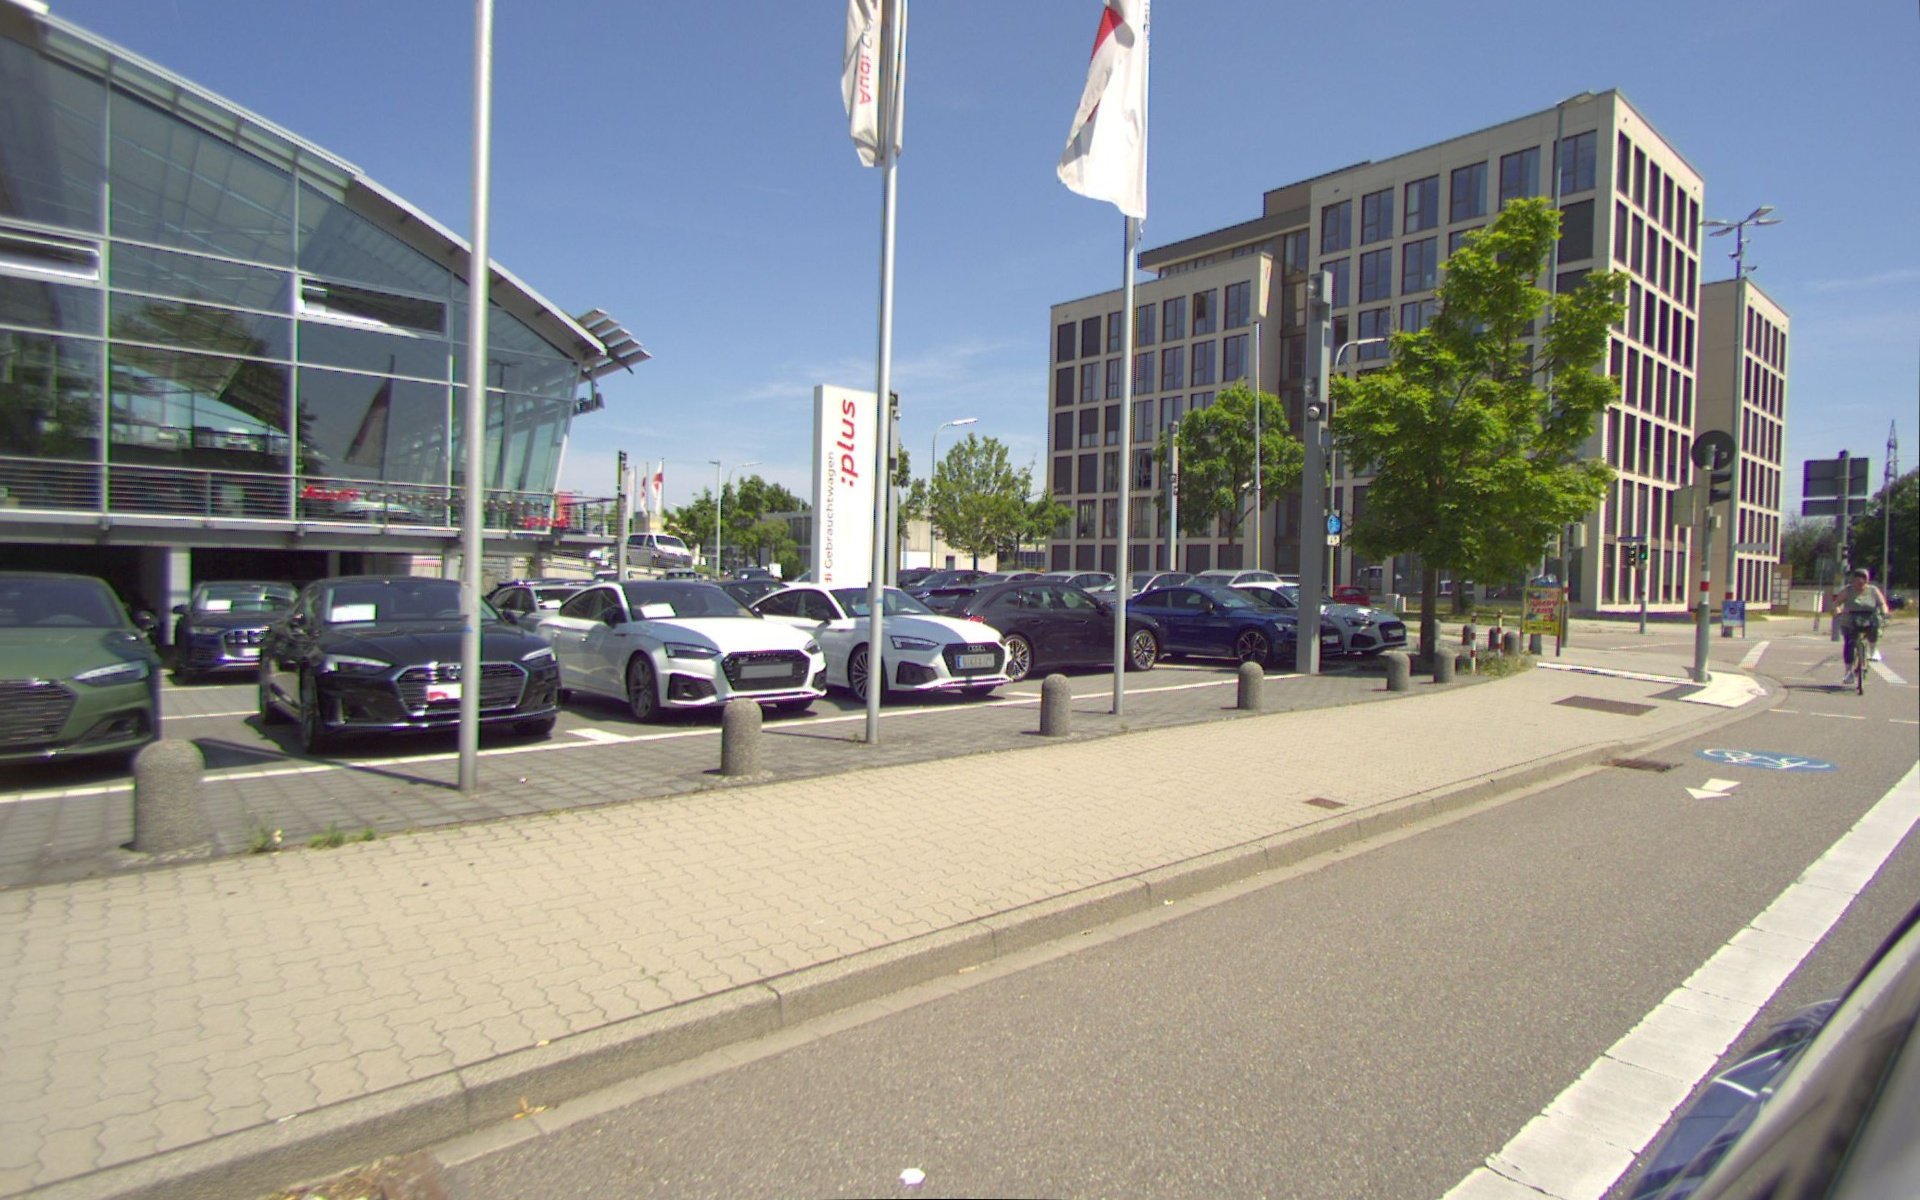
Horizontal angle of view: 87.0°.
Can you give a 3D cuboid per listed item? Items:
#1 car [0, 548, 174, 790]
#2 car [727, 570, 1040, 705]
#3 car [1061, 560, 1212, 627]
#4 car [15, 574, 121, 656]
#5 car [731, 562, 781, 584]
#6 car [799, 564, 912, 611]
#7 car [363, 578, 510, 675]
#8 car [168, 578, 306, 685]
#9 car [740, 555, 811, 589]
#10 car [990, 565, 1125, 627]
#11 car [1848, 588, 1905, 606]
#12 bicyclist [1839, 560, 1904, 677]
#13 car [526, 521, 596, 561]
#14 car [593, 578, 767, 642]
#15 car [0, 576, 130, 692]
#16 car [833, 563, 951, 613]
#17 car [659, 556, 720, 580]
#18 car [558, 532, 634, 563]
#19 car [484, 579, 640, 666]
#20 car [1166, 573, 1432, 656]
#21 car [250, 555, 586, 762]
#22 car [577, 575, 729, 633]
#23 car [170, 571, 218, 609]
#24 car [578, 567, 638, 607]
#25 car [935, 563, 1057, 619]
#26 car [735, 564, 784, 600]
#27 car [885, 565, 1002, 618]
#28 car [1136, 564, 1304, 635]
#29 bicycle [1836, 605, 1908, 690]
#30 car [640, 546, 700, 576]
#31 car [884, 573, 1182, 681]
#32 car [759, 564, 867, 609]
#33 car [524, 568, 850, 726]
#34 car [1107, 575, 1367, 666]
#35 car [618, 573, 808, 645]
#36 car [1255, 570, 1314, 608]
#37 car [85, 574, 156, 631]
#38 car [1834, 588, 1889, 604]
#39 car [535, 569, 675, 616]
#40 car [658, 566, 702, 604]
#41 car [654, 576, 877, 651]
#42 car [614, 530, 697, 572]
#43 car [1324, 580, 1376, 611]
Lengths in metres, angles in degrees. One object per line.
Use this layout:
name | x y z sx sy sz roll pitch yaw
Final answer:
car | -7.041 0.422 7.439 1.836 1.422 4.108 0 0 -40
car | -1.101 0.394 12.583 1.841 1.382 4.103 0 0 -40
car | 4.787 -0.199 27.261 3.926 1.675 1.849 -2 0 -38
car | -19.301 0.301 21.983 1.613 1.630 3.653 0 0 -40
car | -19.965 -2.663 99.165 4.495 2.039 1.997 0 0 -40
car | -3.880 -0.437 37.820 1.845 1.675 3.934 -1 0 45
car | -9.971 0.453 19.121 1.627 1.642 3.992 0 0 -40
car | -12.250 0.477 17.071 1.613 1.600 3.653 0 0 -40
car | -10.079 -1.548 55.073 1.878 1.715 4.587 0 2 -37
car | 2.890 -0.122 29.509 1.845 1.675 3.934 -1 0 45
car | 87.732 -0.267 96.889 3.809 1.571 1.716 2 2 36
bicyclist | 13.147 0.251 14.593 0.812 1.626 0.628 0 0 -43
car | -18.723 -2.744 47.361 1.878 1.728 4.587 0 2 -37
car | -7.698 0.250 28.024 4.264 1.647 1.879 0 0 -38
car | -14.083 0.478 15.865 1.605 1.593 3.989 0 0 -40
car | -2.364 -0.397 35.786 1.845 1.675 3.934 -1 0 45
car | -31.687 -3.719 118.555 6.573 2.552 2.217 0 0 -39
car | -24.947 -3.579 69.485 4.511 1.910 1.910 0 2 -43
car | -8.301 0.431 20.907 1.818 1.619 3.992 0 0 -40
car | 6.398 0.256 19.576 1.836 1.408 4.600 0 0 -40
car | -5.051 0.409 9.111 1.836 1.408 4.233 0 0 -40
car | -9.058 0.089 29.980 3.928 1.559 1.856 0 2 -39
car | -34.685 -0.436 45.801 1.584 1.630 3.518 0 0 -40
car | -14.865 -0.597 42.885 1.812 1.590 4.007 1 2 -11
car | 1.162 -0.247 31.383 1.637 1.636 3.756 1 0 45
car | -9.428 -0.874 47.250 1.811 1.489 4.628 1 2 -16
car | -0.501 -0.295 33.604 1.629 1.675 3.848 1 1 45
car | 6.622 -0.084 25.539 4.424 1.577 1.872 -2 4 -40
bicycle | 13.277 0.657 14.717 1.863 1.147 0.628 1 0 -43
car | -17.905 -2.360 62.410 1.966 1.727 3.992 0 0 -42
car | 1.237 0.356 15.649 4.579 1.438 1.867 0 0 -39
car | -5.752 -0.511 39.862 1.845 1.675 3.934 -1 0 45
car | -3.108 0.418 10.941 1.836 1.366 4.106 0 0 -40
car | 4.747 0.321 17.798 1.836 1.408 4.103 0 0 -40
car | -6.104 0.206 25.254 4.229 1.647 1.879 0 0 -38
car | 17.387 -0.599 54.400 1.886 1.910 4.927 1 1 5
car | -25.864 0.076 31.172 1.613 1.630 3.654 0 0 -40
car | 88.117 -0.410 98.998 3.809 1.411 1.716 2 2 36
car | -11.022 -0.246 31.521 3.751 1.363 1.677 0 2 -39
car | -12.342 -0.699 44.539 1.653 1.522 3.811 -2 3 -18
car | -4.321 0.259 22.912 4.629 1.535 1.879 0 0 -38
car | -15.253 -2.438 50.556 1.881 1.991 5.242 0 2 -43
car | 19.880 -0.265 51.741 1.672 1.450 3.990 1 2 9
